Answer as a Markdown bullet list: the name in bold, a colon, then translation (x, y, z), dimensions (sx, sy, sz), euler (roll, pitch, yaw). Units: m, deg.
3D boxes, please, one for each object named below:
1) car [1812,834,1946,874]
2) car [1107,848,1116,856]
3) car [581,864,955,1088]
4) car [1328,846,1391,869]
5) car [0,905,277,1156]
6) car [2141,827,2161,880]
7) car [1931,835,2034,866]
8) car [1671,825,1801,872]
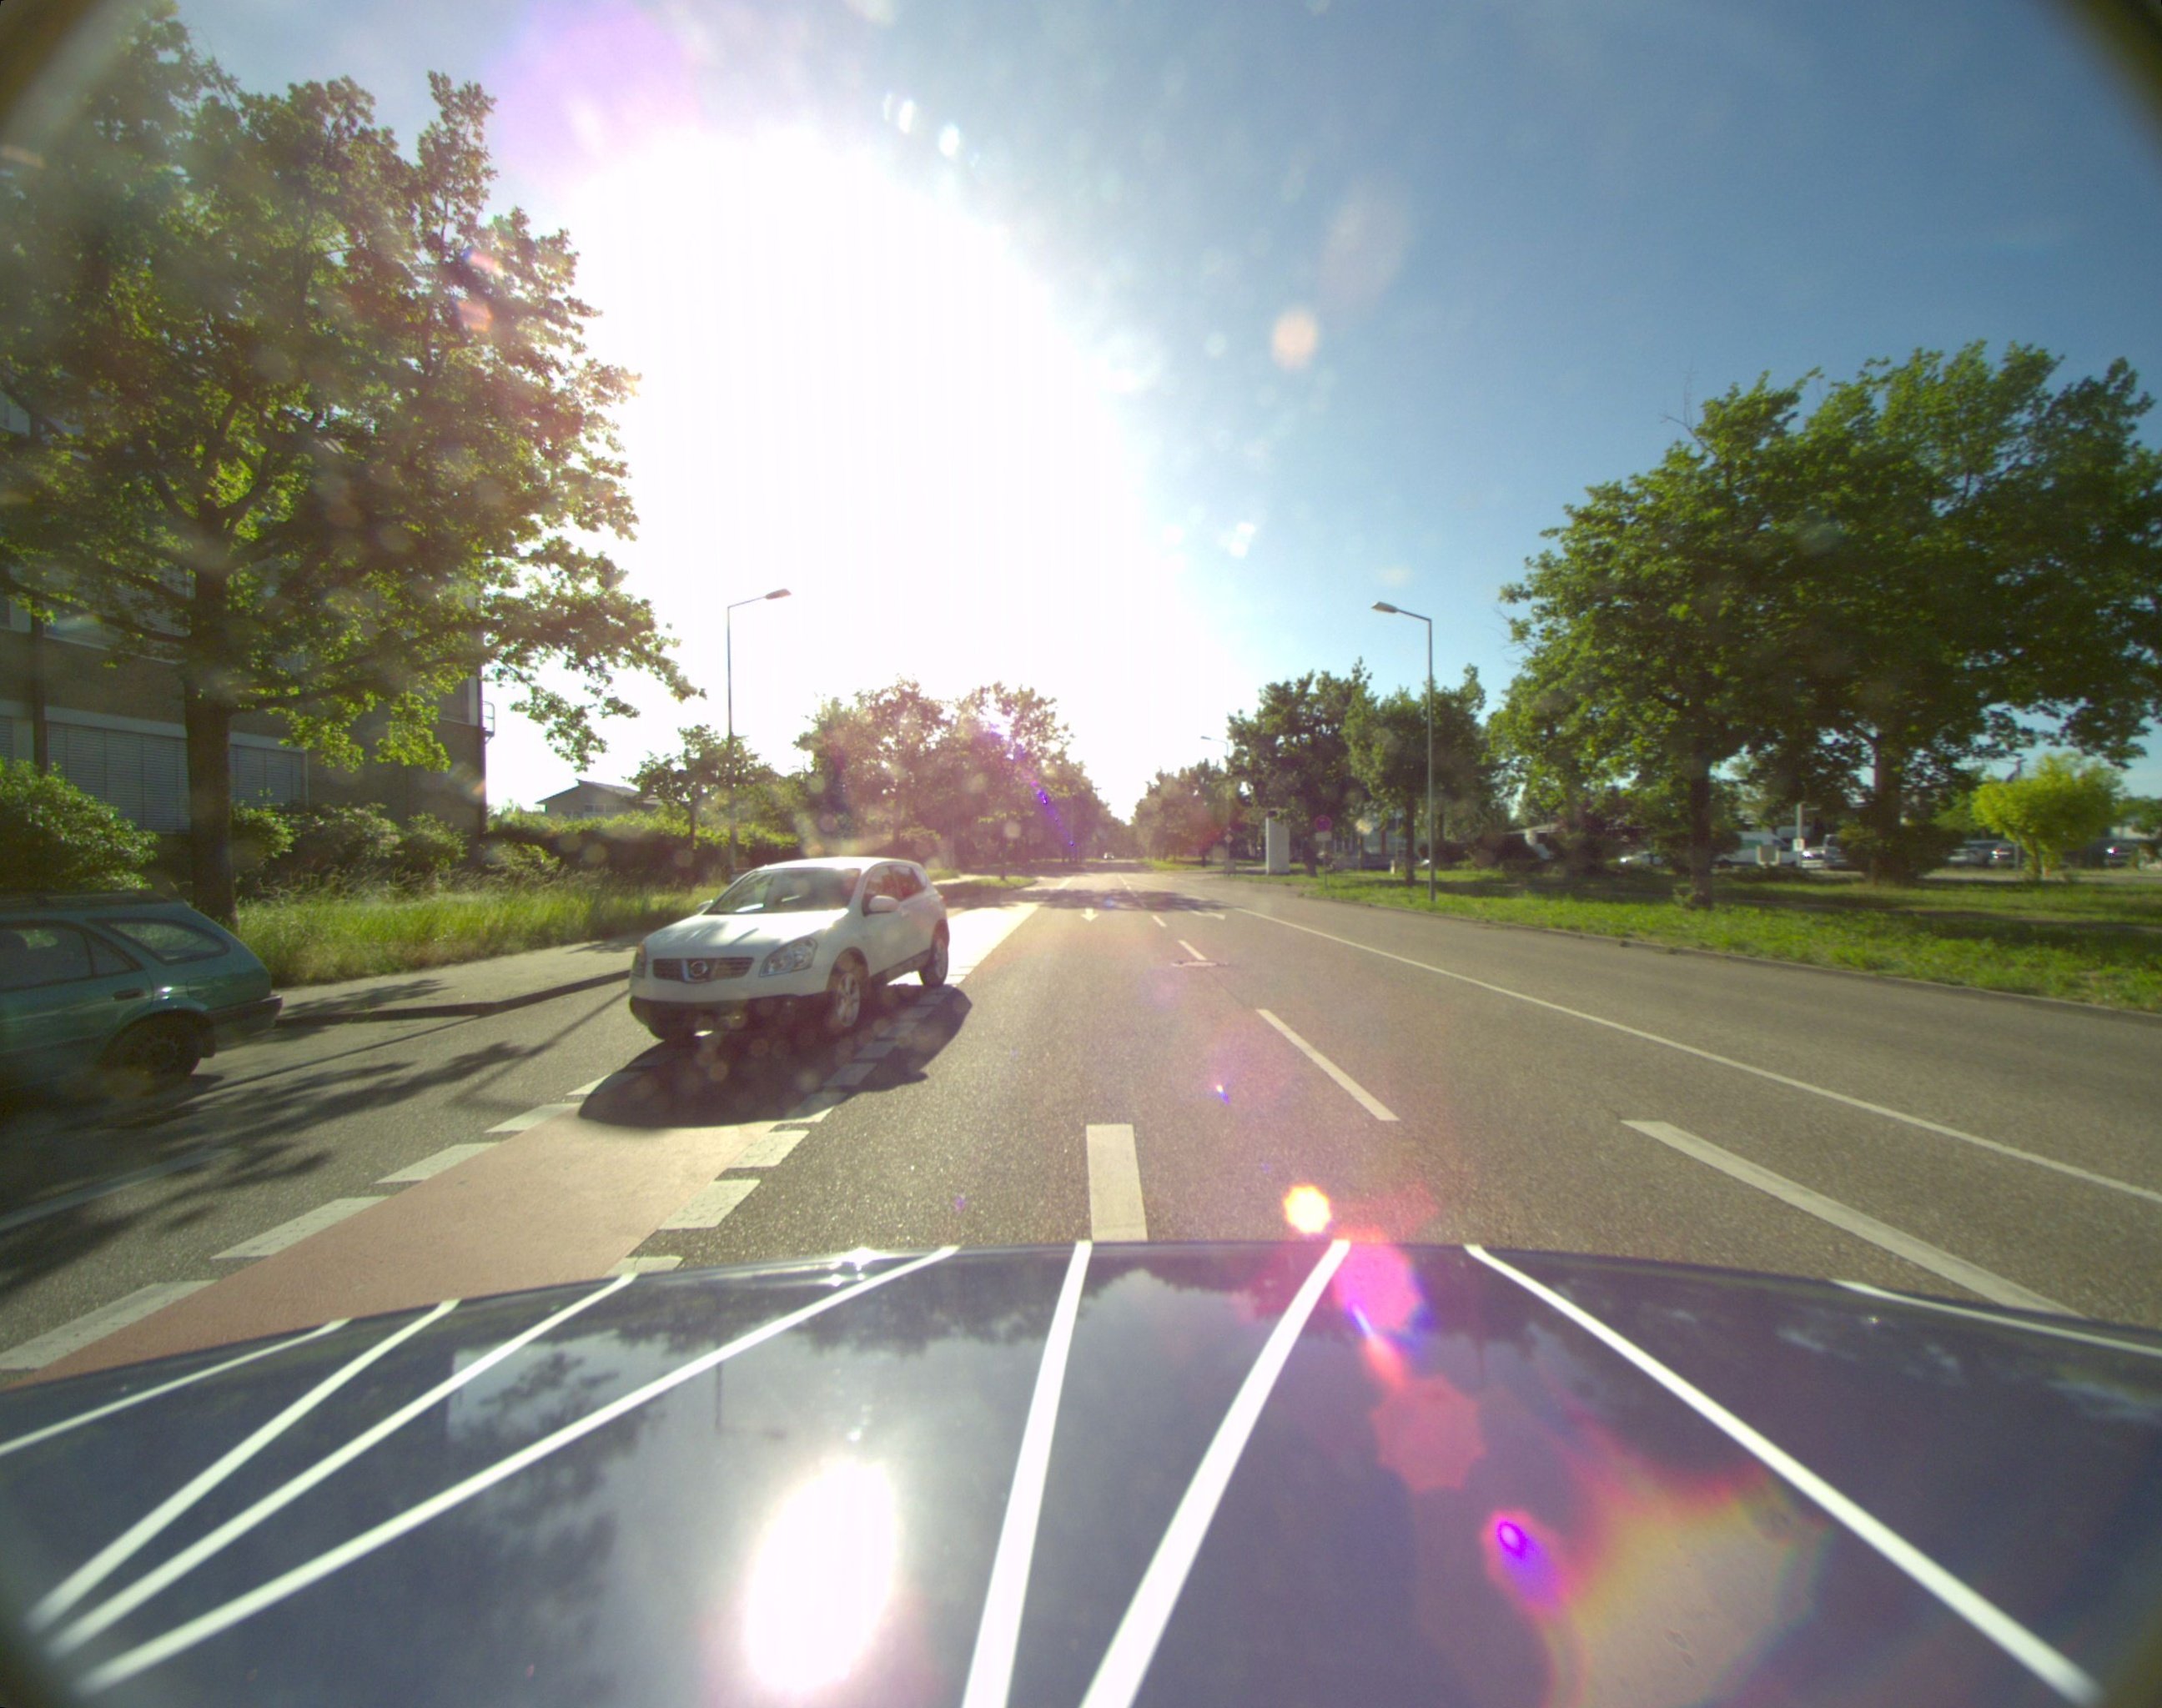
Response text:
- **car**: translation (40.062, -0.005, 38.212), dimensions (4.642, 1.771, 1.990), euler (-2, 1, 0)
- **car**: translation (5.677, -0.403, 143.845), dimensions (1.653, 1.460, 3.941), euler (-1, 0, 2)
- **car**: translation (-2.737, 0.965, 7.796), dimensions (1.721, 1.598, 4.069), euler (-2, 0, 7)
- **car**: translation (23.931, 0.297, 65.362), dimensions (4.637, 1.822, 2.000), euler (-2, 1, 0)
- **car**: translation (-7.525, 1.134, 4.213), dimensions (1.706, 1.460, 4.141), euler (-1, -1, 0)
- **car**: translation (33.888, -0.085, 22.031), dimensions (3.817, 1.562, 1.736), euler (-2, -1, 0)
- **car**: translation (52.090, -0.207, 43.951), dimensions (3.860, 1.661, 1.762), euler (-2, 1, 0)
- **car**: translation (39.901, -0.338, 46.389), dimensions (6.023, 2.540, 2.409), euler (-2, 1, -4)
